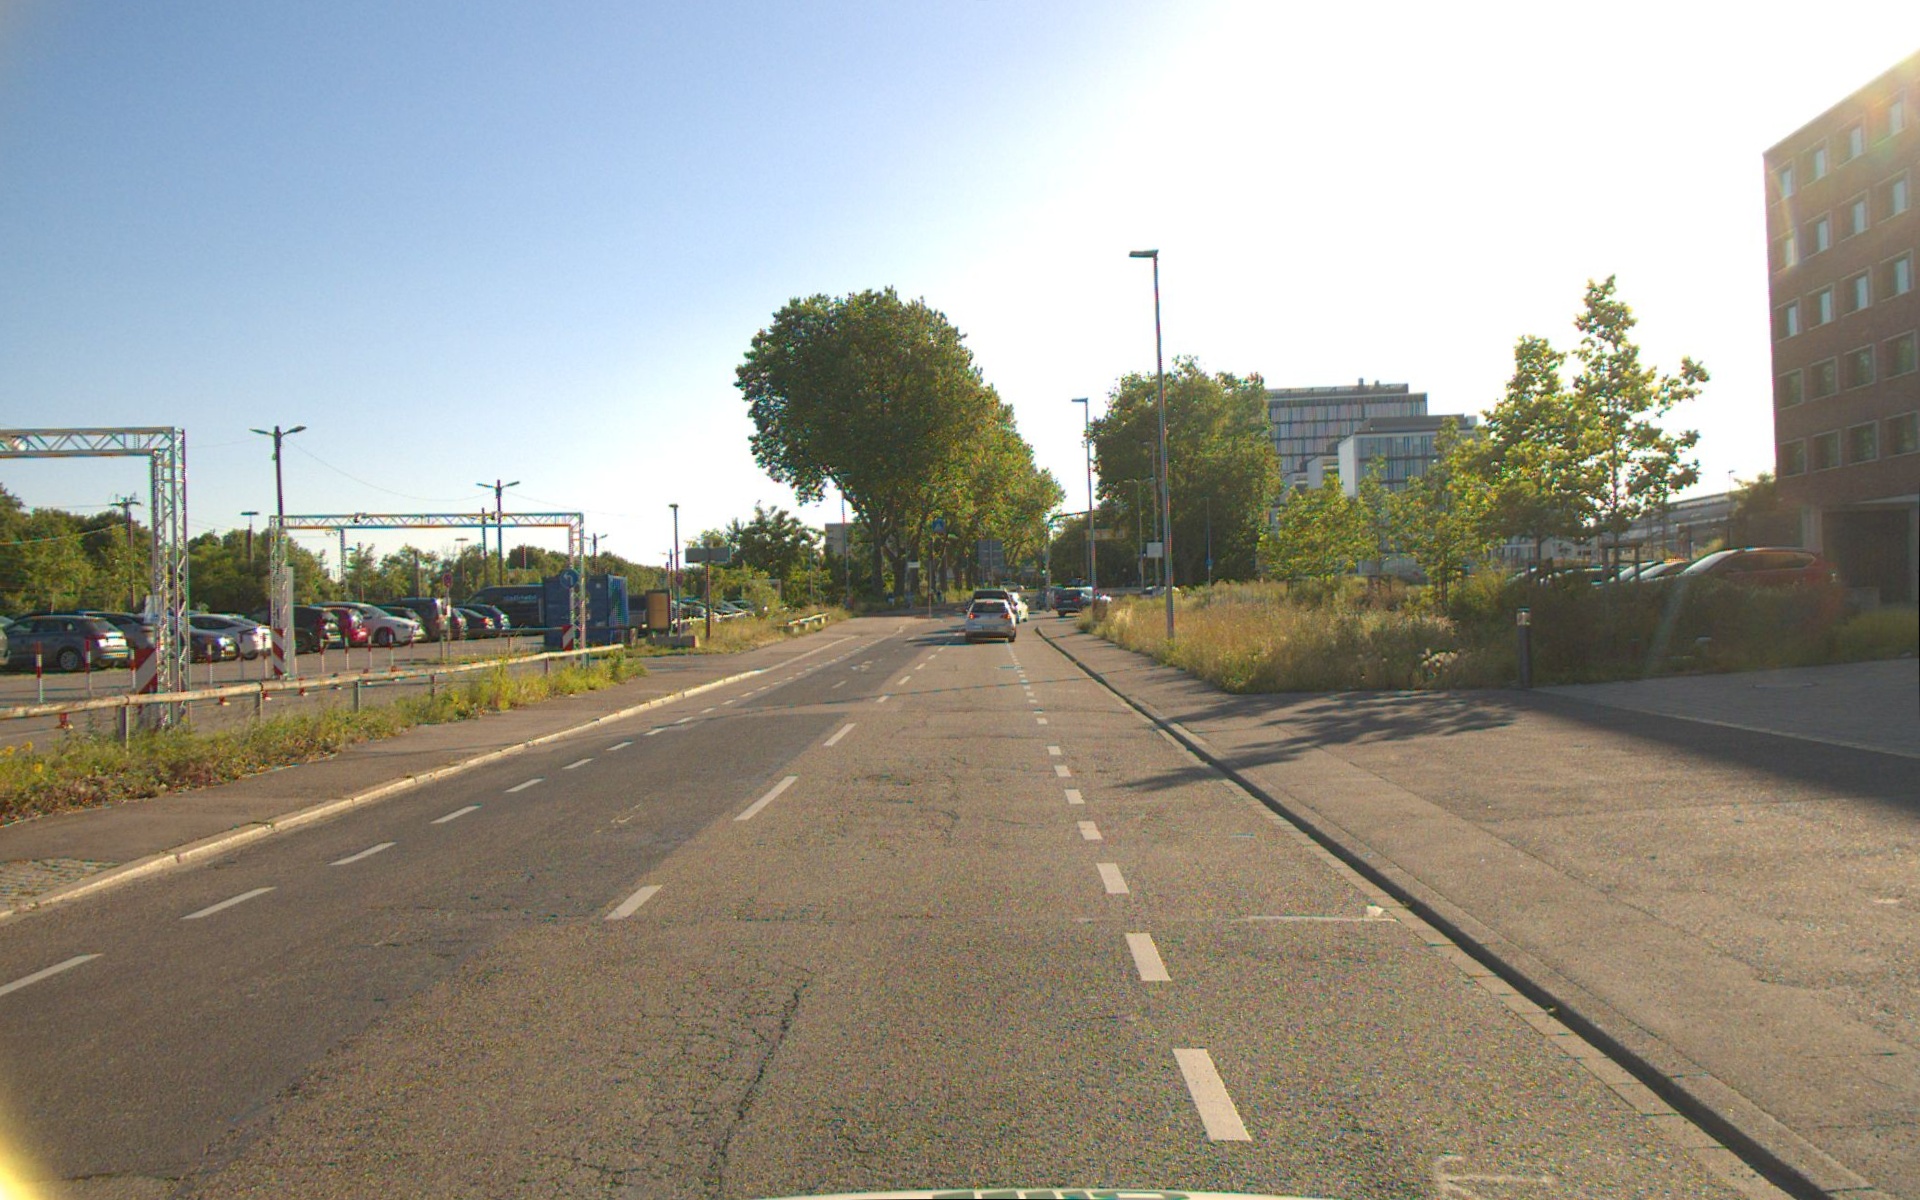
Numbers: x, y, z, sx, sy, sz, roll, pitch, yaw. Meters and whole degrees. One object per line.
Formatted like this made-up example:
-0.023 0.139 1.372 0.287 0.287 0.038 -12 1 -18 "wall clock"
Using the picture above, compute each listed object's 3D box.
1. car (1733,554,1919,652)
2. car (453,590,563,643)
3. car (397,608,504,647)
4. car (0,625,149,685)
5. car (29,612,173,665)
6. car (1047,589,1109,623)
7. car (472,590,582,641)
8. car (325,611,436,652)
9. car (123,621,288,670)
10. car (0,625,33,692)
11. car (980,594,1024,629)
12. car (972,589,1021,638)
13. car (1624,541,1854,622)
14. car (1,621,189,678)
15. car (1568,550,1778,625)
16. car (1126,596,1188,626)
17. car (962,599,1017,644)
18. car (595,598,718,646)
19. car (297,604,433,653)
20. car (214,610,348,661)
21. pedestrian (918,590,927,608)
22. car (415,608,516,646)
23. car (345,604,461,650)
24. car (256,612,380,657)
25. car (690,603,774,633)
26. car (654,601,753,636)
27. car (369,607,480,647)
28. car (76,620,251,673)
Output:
16.018 0.024 28.935 4.096 1.608 1.853 -1 0 4 "car"
-22.610 0.804 82.879 4.825 2.503 2.320 -1 0 0 "car"
-23.135 1.226 75.260 4.233 1.646 1.878 -1 0 0 "car"
-23.897 1.432 43.443 4.233 1.444 1.878 -1 0 0 "car"
-28.526 1.277 55.011 3.803 1.631 1.807 -1 0 0 "car"
6.533 0.326 91.101 2.120 1.713 3.998 -2 0 25 "car"
-22.342 0.795 85.546 4.992 2.503 2.320 -1 0 0 "car"
-23.573 1.261 67.371 3.803 1.546 1.878 -1 0 0 "car"
-23.495 1.407 51.615 4.233 1.400 1.878 -1 0 0 "car"
-24.016 1.394 38.112 4.232 1.488 1.879 -1 0 2 "car"
2.088 0.554 81.384 1.858 1.624 4.003 -1 0 6 "car"
1.410 0.491 63.788 1.781 1.799 4.630 -1 0 2 "car"
16.749 -0.391 35.723 4.096 1.608 1.853 -1 0 4 "car"
-24.185 1.361 46.325 4.233 1.444 1.878 -1 0 0 "car"
16.597 -0.283 38.664 4.096 1.608 1.853 -1 0 4 "car"
11.850 0.683 99.382 2.125 1.713 3.988 -2 -1 33 "car"
1.064 0.716 57.462 1.752 1.445 4.002 -1 0 3 "car"
-12.701 0.899 69.440 4.746 1.867 2.000 -1 0 0 "car"
-23.096 1.110 64.297 4.483 1.771 2.059 -1 0 5 "car"
-23.377 1.197 57.039 3.803 1.631 1.878 -1 0 0 "car"
-3.163 -0.070 140.380 0.664 1.439 0.684 -3 0 2 "pedestrian"
-23.256 1.273 77.849 4.121 1.646 1.878 -1 0 0 "car"
-23.550 1.131 70.005 4.233 1.823 1.878 -1 0 0 "car"
-23.818 1.258 61.448 3.803 1.546 1.878 -1 0 0 "car"
-12.637 0.993 91.940 4.334 1.585 1.878 -1 0 0 "car"
-12.481 0.885 80.641 4.449 1.585 1.878 -1 0 0 "car"
-23.524 1.184 72.739 4.233 1.646 1.878 -1 0 0 "car"
-23.464 1.352 48.819 4.233 1.400 1.878 -1 0 0 "car"
